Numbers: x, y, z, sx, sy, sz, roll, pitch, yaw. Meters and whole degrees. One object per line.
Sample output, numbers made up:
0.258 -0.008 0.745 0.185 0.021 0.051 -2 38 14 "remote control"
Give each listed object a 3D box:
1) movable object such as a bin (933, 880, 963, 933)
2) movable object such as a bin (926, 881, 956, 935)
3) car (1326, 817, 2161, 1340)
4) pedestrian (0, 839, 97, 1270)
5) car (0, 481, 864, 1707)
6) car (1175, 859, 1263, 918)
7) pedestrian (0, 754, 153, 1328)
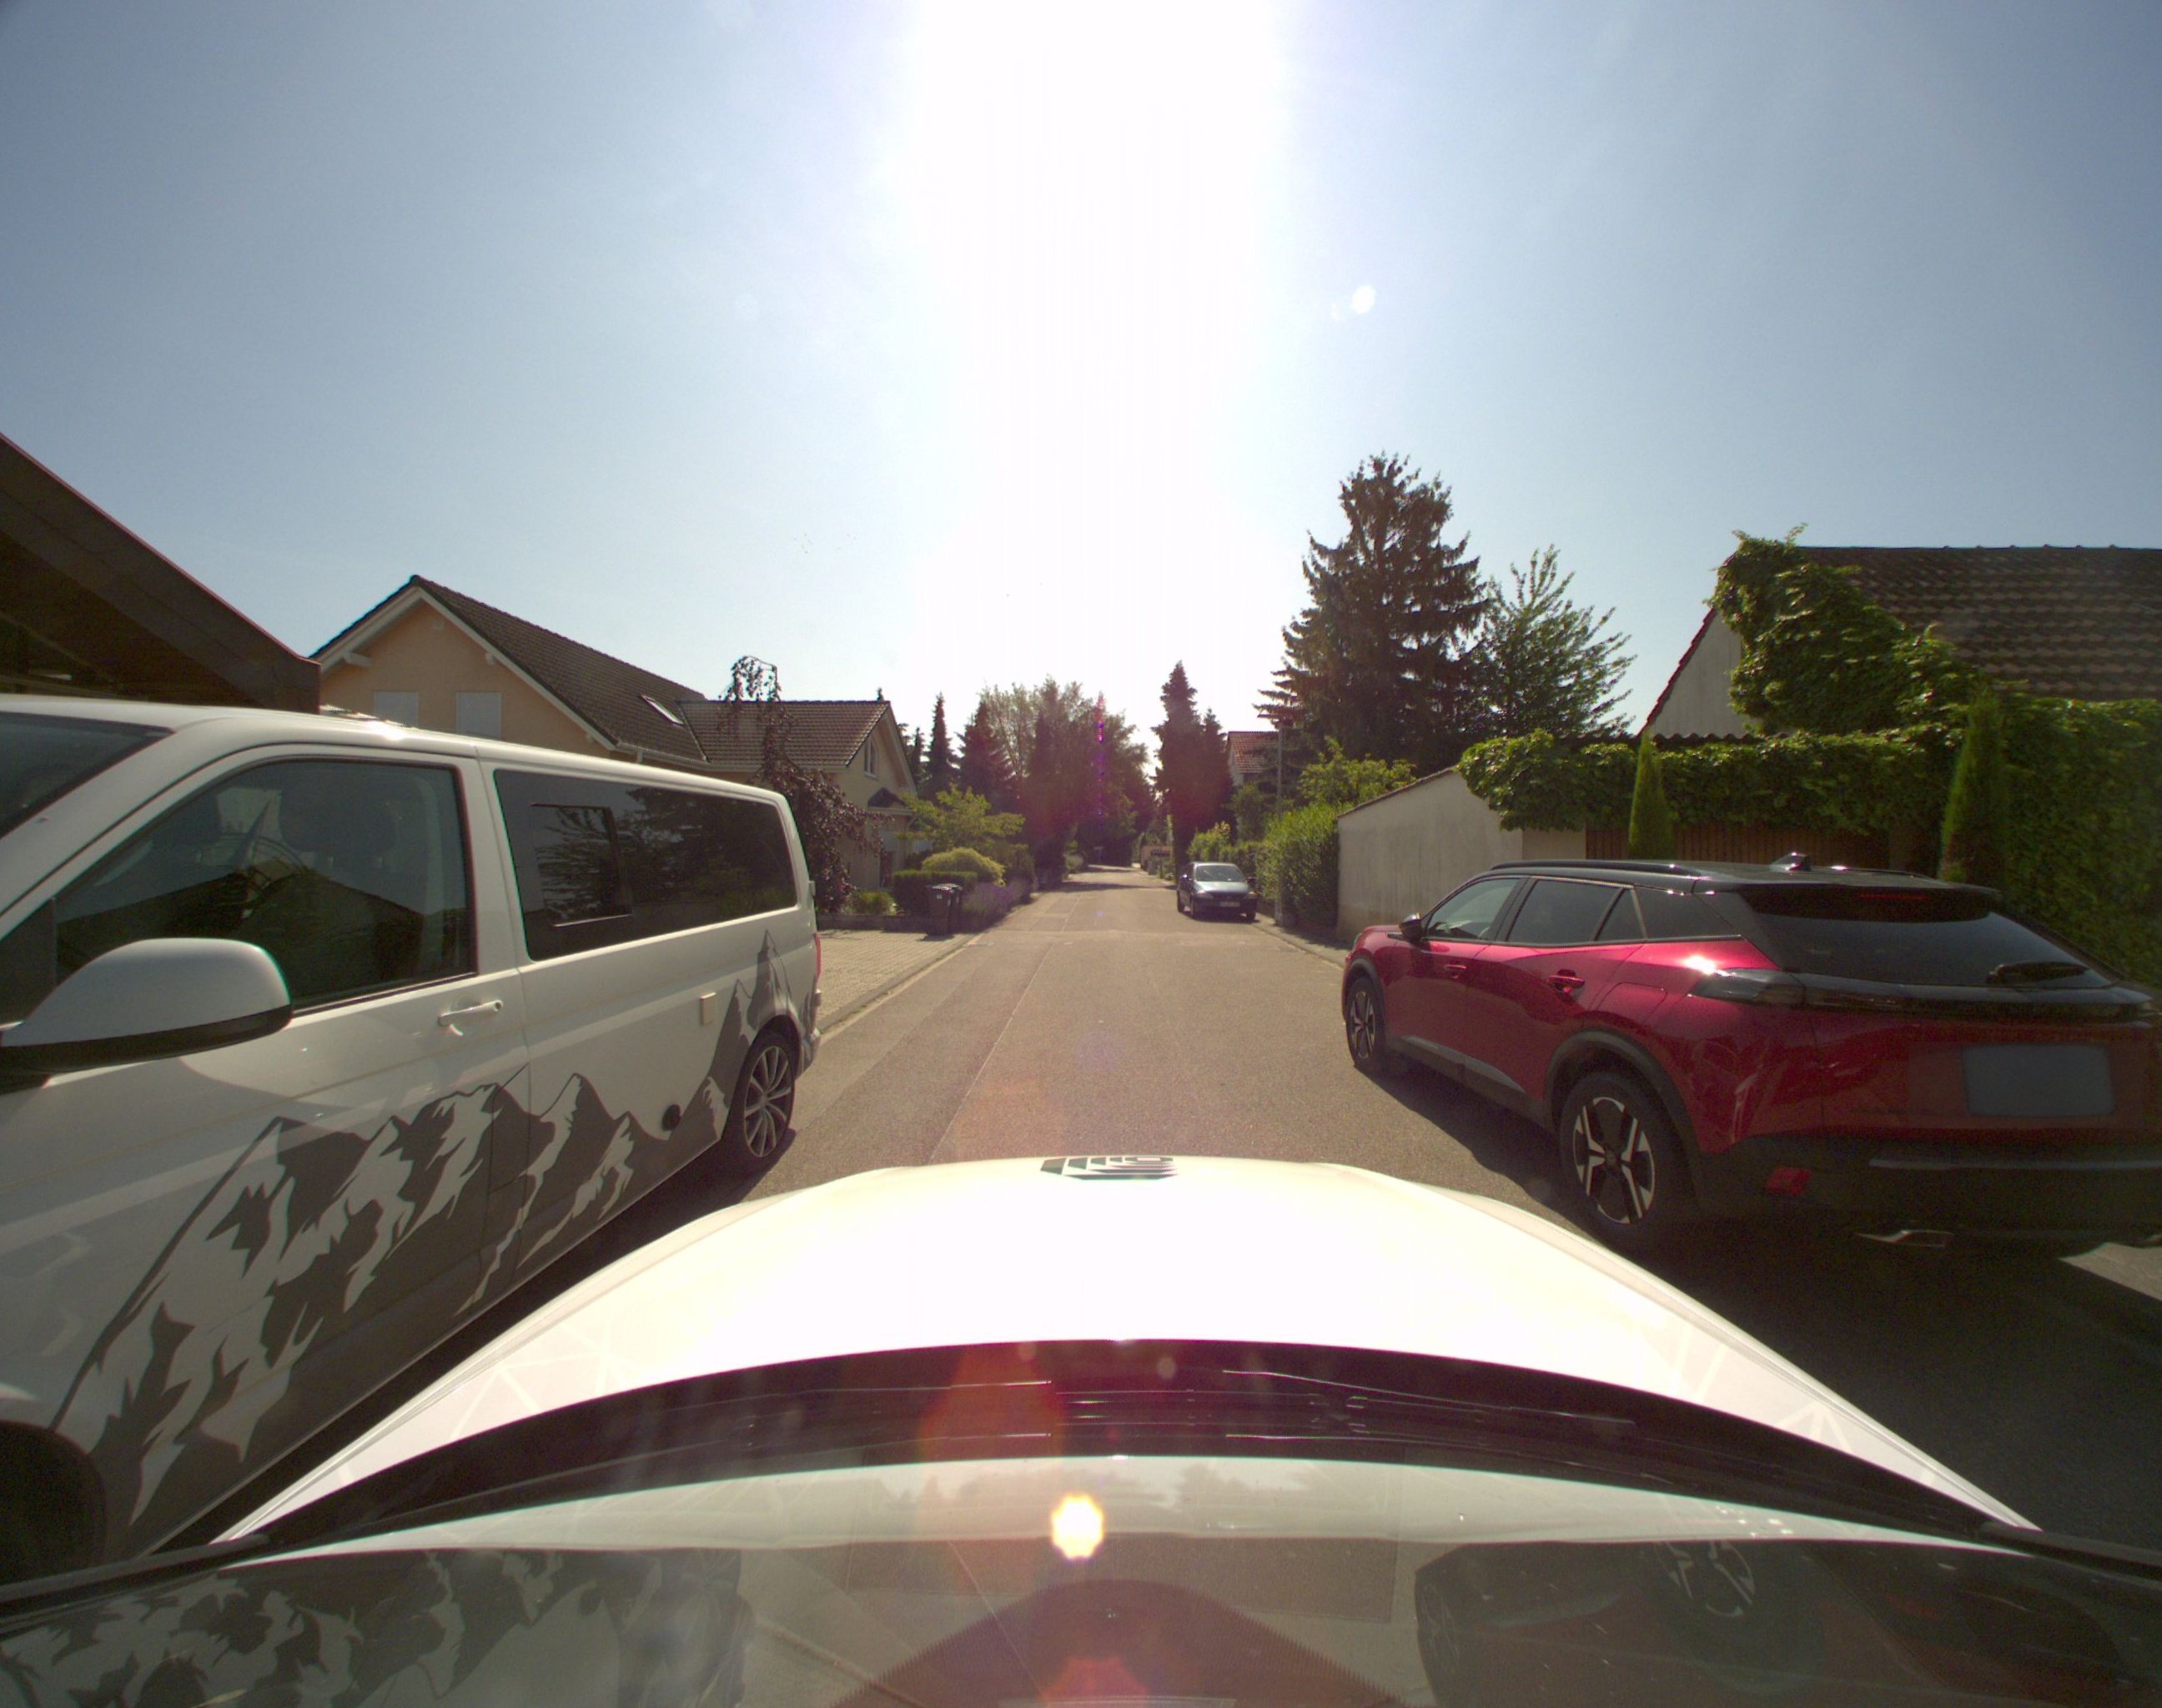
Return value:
-2.641 1.035 16.205 0.492 1.024 0.447 0 0 1 "movable object such as a bin"
-2.705 1.036 15.743 0.492 1.024 0.447 0 0 1 "movable object such as a bin"
2.906 0.720 4.552 1.817 1.615 3.998 1 0 -1 "car"
-4.209 0.711 3.018 0.710 1.538 0.646 1 0 35 "pedestrian"
-2.453 0.470 2.632 1.921 2.014 4.900 0 0 3 "car"
3.574 0.843 21.777 1.697 1.399 4.000 1 0 0 "car"
-3.556 0.562 2.615 0.683 1.731 0.646 1 0 32 "pedestrian"
